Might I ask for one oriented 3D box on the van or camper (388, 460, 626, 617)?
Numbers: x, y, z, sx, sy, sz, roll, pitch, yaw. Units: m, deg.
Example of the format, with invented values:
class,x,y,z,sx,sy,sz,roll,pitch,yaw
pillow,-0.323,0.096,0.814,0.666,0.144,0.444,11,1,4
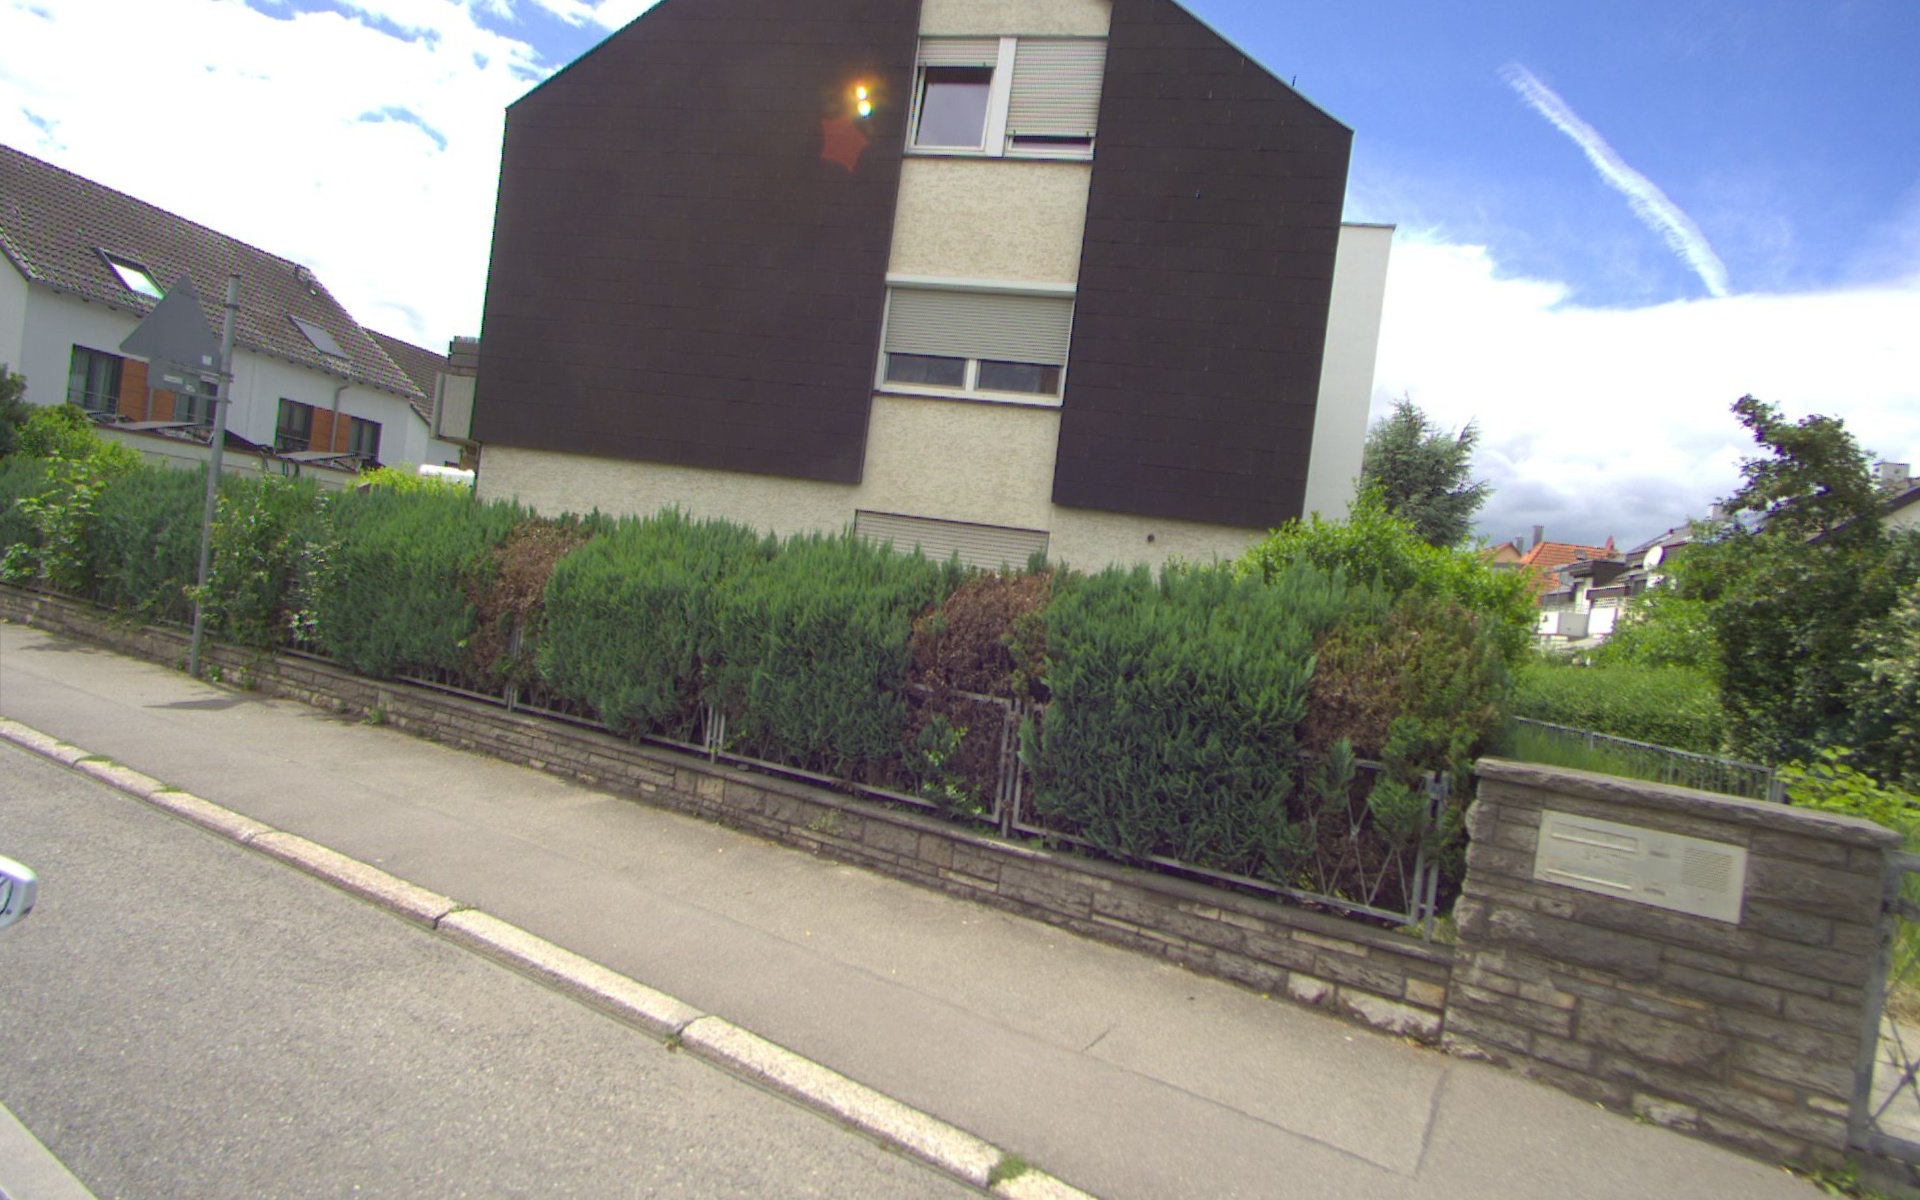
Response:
class,x,y,z,sx,sy,sz,roll,pitch,yaw
van or camper,-12.674,-1.466,29.293,2.374,3.339,8.693,7,-2,2
